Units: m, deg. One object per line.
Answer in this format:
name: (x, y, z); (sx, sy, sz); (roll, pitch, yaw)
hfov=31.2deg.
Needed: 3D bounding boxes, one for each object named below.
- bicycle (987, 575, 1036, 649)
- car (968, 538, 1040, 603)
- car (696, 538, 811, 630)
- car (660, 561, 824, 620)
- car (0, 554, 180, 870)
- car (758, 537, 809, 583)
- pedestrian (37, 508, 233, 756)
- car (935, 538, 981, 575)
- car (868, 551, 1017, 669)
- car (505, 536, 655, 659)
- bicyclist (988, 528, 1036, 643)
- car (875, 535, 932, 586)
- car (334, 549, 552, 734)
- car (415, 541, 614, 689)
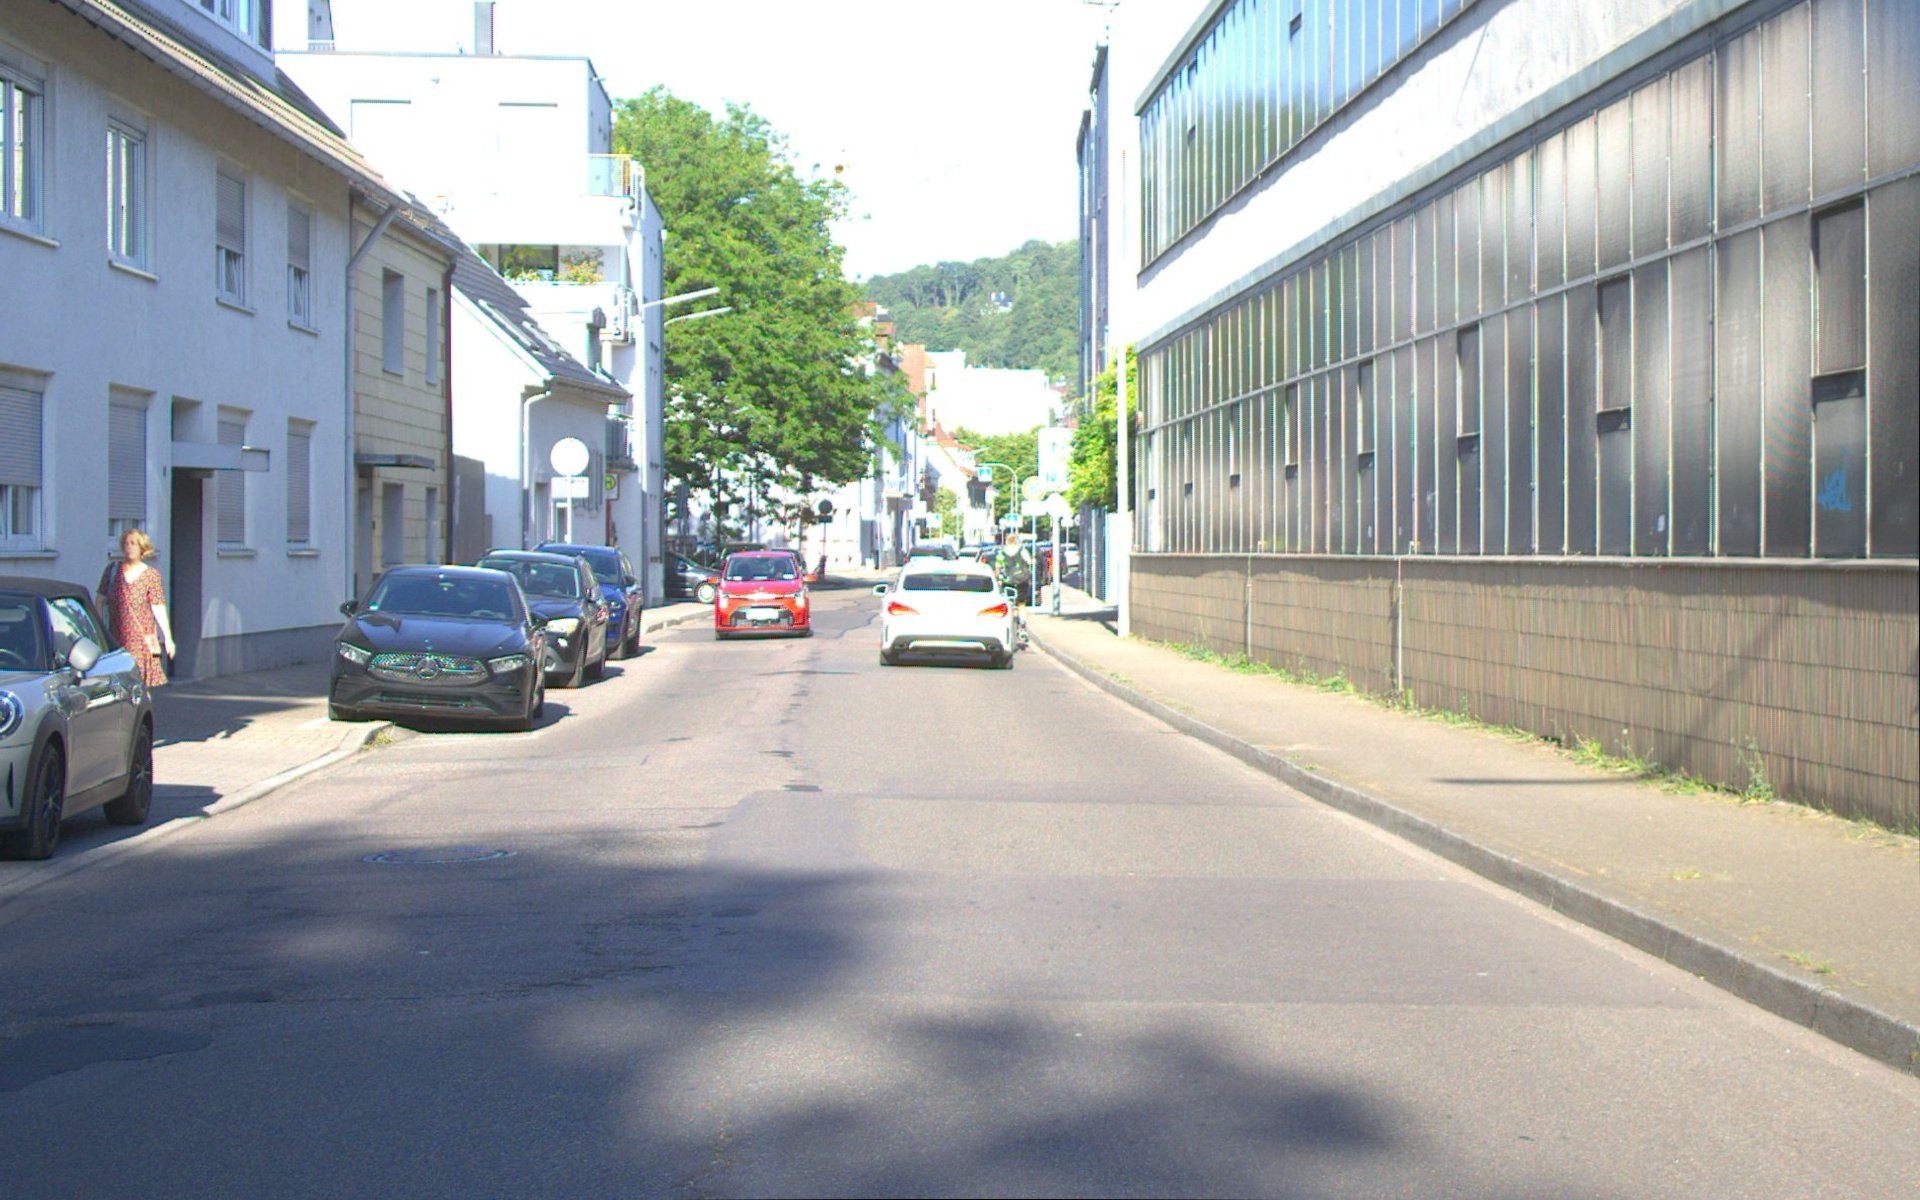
bicycle: (0.808, 0.181, 54.183); (0.698, 1.126, 2.403); (1, 0, 0)
car: (1.107, -0.766, 88.681); (1.629, 1.581, 4.070); (-2, 1, -2)
car: (-3.524, -0.280, 59.266); (1.842, 1.486, 4.144); (1, 0, -2)
car: (-5.852, -0.259, 92.503); (4.131, 1.486, 1.848); (1, 0, 5)
car: (-5.489, 0.515, 18.781); (1.667, 1.530, 3.857); (2, 0, -2)
car: (-6.366, -1.460, 124.217); (1.704, 1.570, 3.914); (1, 1, -2)
pedestrian: (-6.346, 0.236, 26.483); (0.862, 1.812, 1.130); (4, 1, 22)
car: (-0.086, -1.830, 146.096); (1.842, 1.486, 4.144); (1, 0, -1)
car: (-0.283, 0.114, 46.824); (1.842, 1.486, 4.144); (1, 0, -2)
car: (-5.584, -0.073, 50.889); (1.808, 1.581, 4.193); (2, 2, -2)
bicyclist: (0.816, -0.232, 54.203); (0.698, 1.784, 1.041); (1, 0, 0)
car: (-2.092, -1.465, 125.228); (1.853, 1.785, 4.608); (1, 1, -3)
car: (-4.713, 0.342, 31.781); (1.684, 1.530, 4.335); (2, 0, -5)
car: (-5.351, 0.135, 41.756); (1.857, 1.581, 4.336); (2, 2, -1)
